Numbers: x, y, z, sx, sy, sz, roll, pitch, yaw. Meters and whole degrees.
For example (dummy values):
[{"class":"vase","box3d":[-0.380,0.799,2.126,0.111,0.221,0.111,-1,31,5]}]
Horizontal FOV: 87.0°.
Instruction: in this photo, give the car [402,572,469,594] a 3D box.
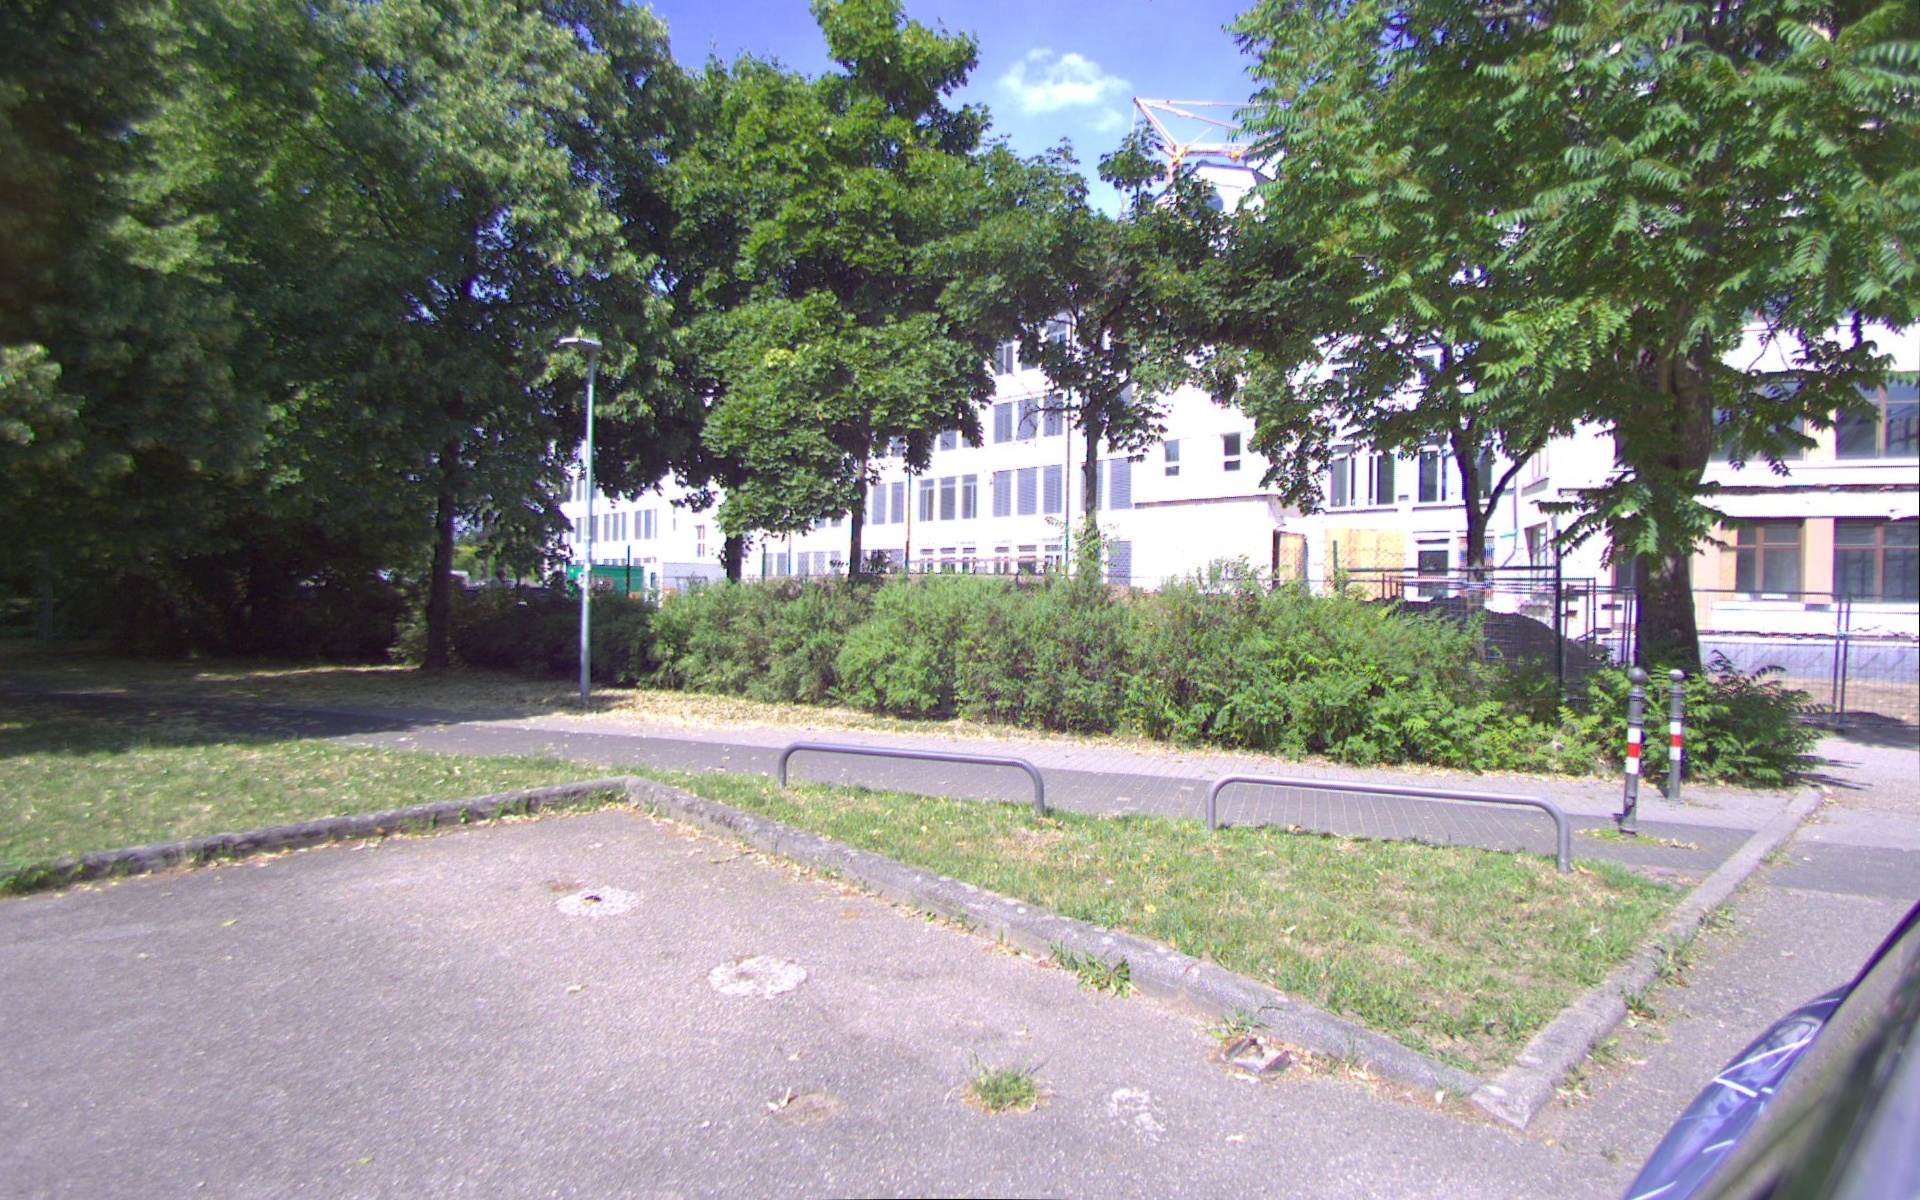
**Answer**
[{"class":"car","box3d":[-41.702,-1.338,80.479,4.500,1.622,1.549,1,0,-42]}]

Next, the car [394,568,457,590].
[{"class":"car","box3d":[-43.391,-1.694,82.220,4.290,1.622,1.549,1,0,-42]}]
